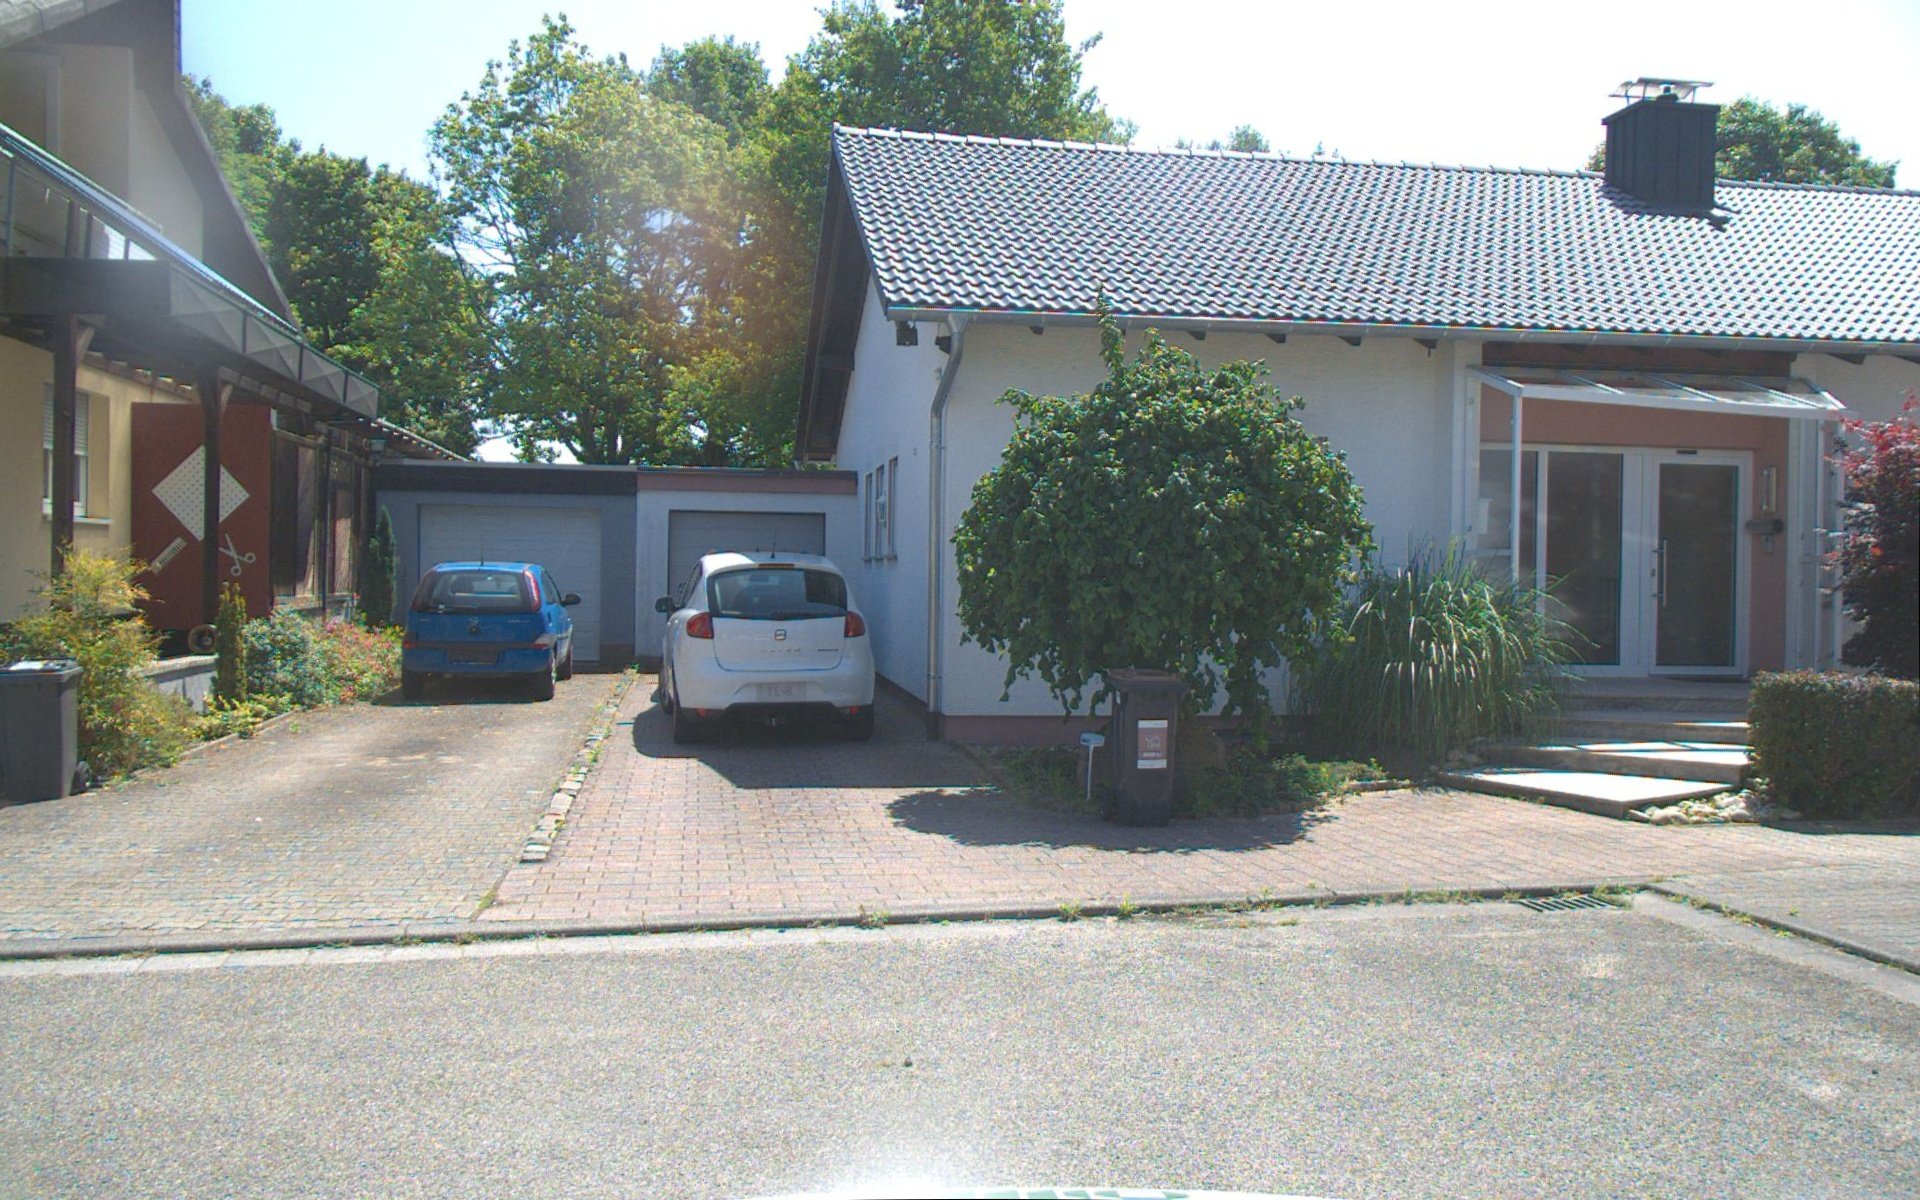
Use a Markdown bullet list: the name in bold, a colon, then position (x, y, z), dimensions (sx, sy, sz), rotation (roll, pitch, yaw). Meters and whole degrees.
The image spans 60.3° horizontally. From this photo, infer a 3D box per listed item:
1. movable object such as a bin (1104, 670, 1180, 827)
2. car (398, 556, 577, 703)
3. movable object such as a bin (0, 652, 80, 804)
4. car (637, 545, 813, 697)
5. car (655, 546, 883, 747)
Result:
- **movable object such as a bin**: position (1.102, 0.894, 10.066), dimensions (0.367, 0.907, 0.390), rotation (0, 1, -10)
- **car**: position (-5.337, 0.272, 19.007), dimensions (1.585, 1.480, 3.248), rotation (1, 2, -9)
- **movable object such as a bin**: position (-5.806, 0.792, 10.397), dimensions (0.400, 0.907, 0.424), rotation (0, 1, -17)
- **car**: position (-2.826, 0.162, 19.867), dimensions (1.887, 1.635, 3.993), rotation (0, 2, -9)
- **car**: position (-1.887, 0.330, 15.295), dimensions (1.716, 1.596, 3.988), rotation (0, 1, -12)
